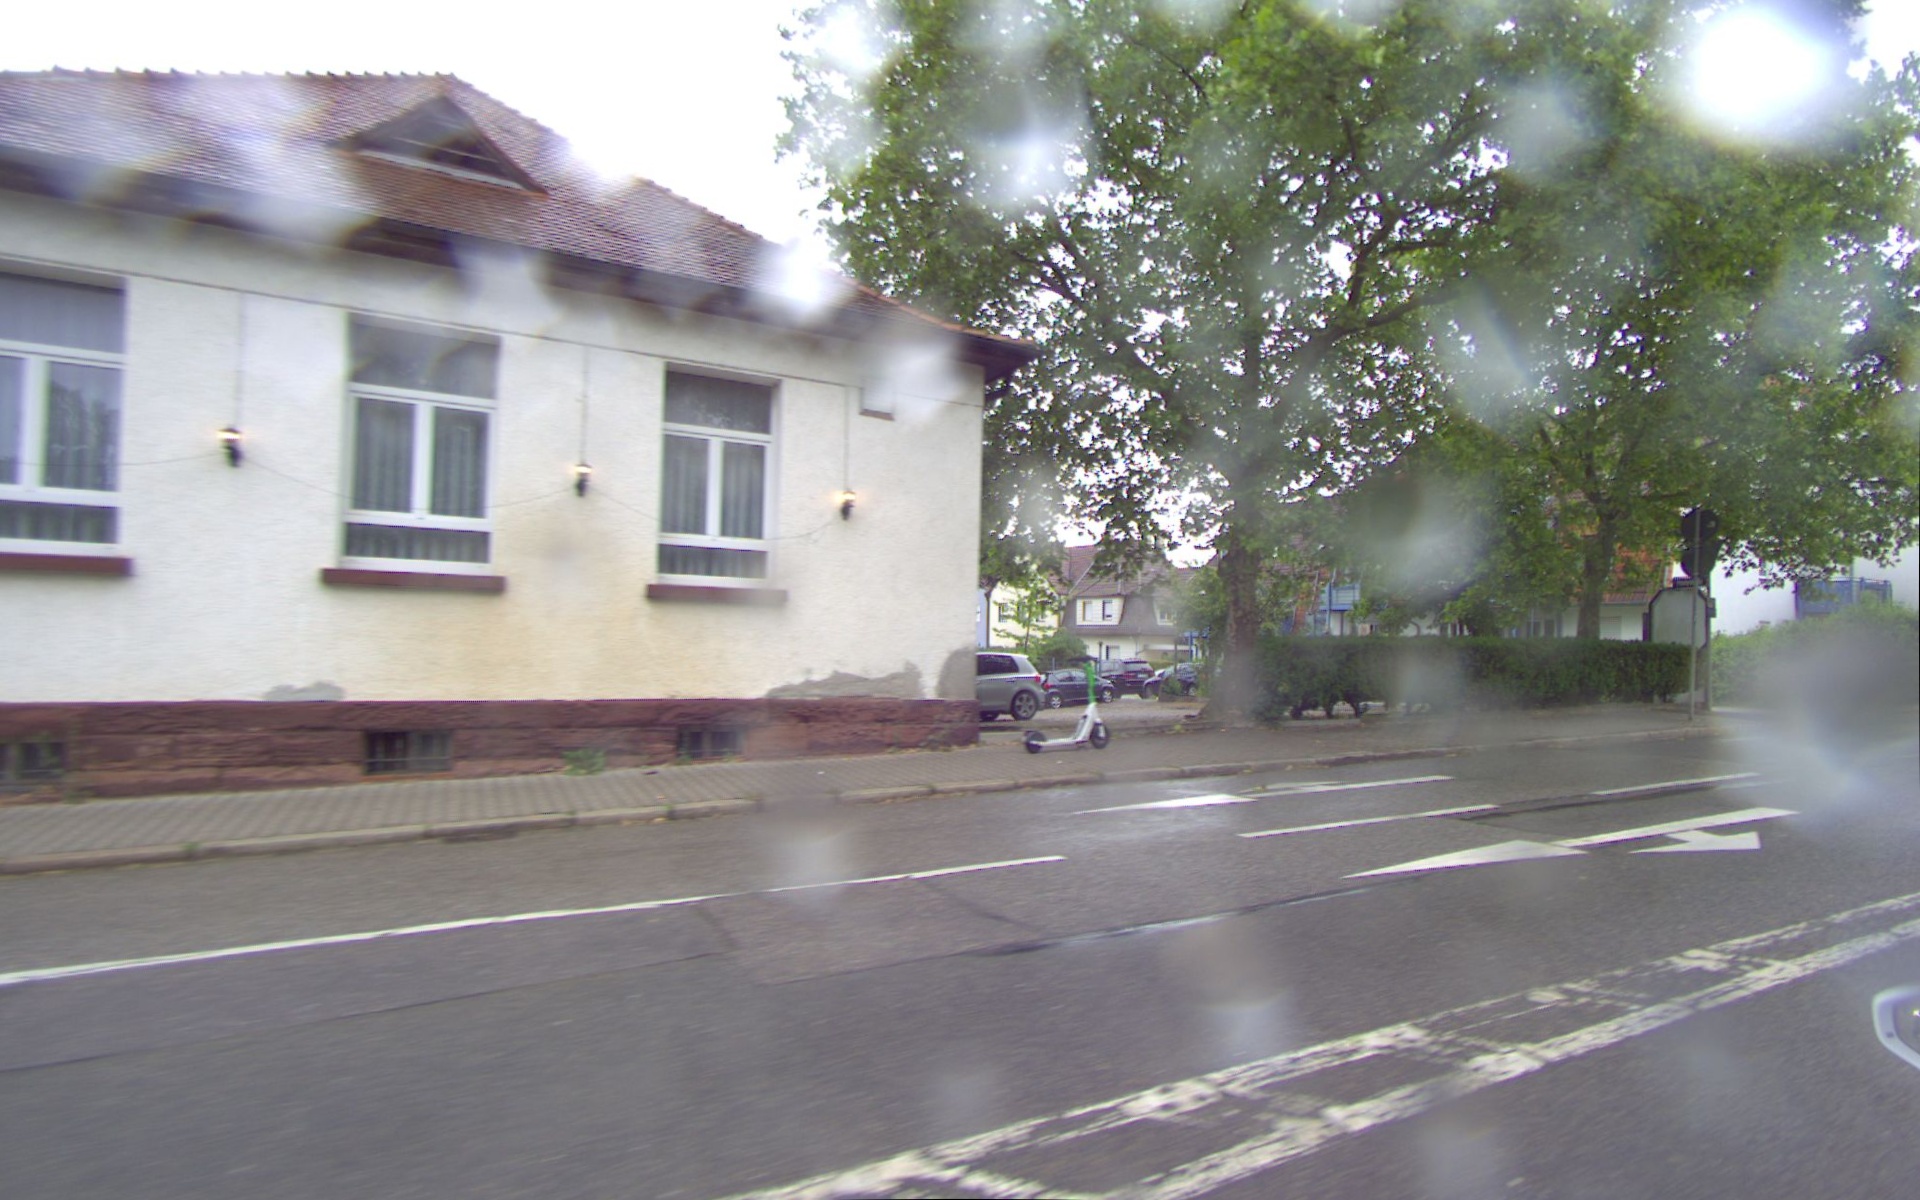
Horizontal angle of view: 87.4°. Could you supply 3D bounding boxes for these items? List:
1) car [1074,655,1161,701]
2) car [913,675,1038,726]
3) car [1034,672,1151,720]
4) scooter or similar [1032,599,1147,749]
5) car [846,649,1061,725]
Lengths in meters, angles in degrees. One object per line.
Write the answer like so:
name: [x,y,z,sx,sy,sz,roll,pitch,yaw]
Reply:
car: [6.864,3.447,44.189,1.716,1.887,3.973,1,-5,-28]
car: [0.553,3.473,35.188,3.952,1.605,1.985,1,-3,-30]
car: [4.967,3.566,37.681,3.952,1.605,1.985,1,-3,-30]
scooter or similar: [1.636,0.916,12.581,1.496,1.798,0.398,2,-2,-32]
car: [-0.115,1.826,21.156,4.233,1.459,1.745,2,-6,-29]
